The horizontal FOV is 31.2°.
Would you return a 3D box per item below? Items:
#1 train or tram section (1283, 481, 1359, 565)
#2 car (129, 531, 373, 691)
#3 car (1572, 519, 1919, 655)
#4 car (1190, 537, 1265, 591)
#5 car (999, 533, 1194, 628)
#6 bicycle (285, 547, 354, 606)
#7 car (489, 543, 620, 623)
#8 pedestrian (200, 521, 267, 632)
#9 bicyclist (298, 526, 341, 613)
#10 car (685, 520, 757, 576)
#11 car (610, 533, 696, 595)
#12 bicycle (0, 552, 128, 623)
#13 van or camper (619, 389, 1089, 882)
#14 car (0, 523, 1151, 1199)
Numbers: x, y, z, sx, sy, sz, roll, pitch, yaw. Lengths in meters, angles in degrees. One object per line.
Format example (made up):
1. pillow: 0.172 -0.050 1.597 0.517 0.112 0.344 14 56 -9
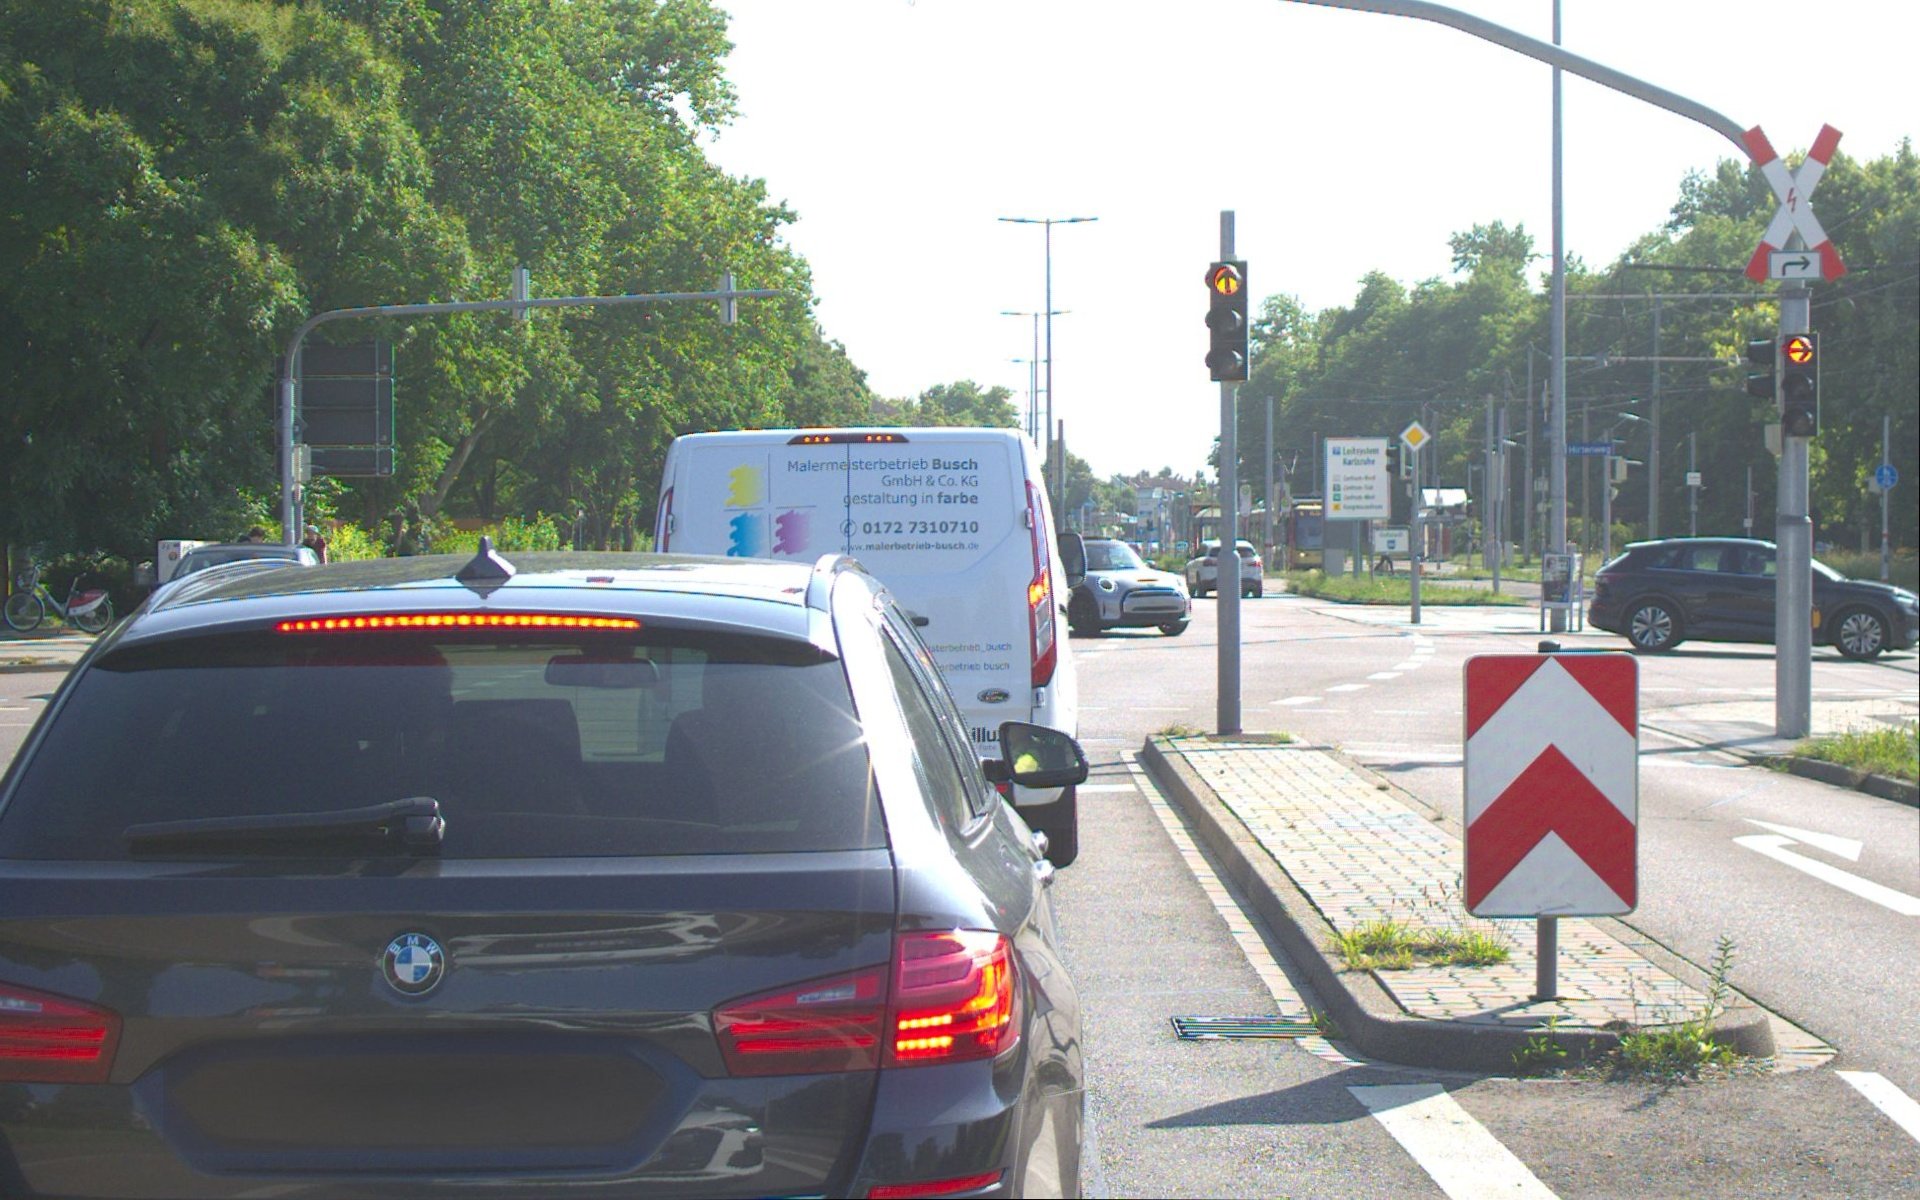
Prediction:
1. train or tram section: 16.398 -3.444 156.914 2.796 3.606 12.954 1 1 3
2. car: -7.408 0.071 36.237 1.633 1.555 3.676 -2 1 2
3. car: 10.932 -0.208 47.589 4.612 1.716 1.648 2 2 19
4. car: 7.517 -1.036 97.018 1.793 1.481 3.900 0 1 0
5. car: 2.028 -0.326 51.896 1.601 1.379 3.530 0 1 -23
6. bicycle: -11.542 -0.430 61.999 0.620 1.037 2.071 0 1 7
7. car: -7.379 -0.336 62.865 1.779 1.410 4.245 0 1 2
8. pedestrian: -11.552 -0.377 54.670 0.816 1.746 0.931 0 1 5
9. bicyclist: -11.532 -0.546 61.936 0.607 1.555 0.602 0 1 8
10. car: -6.965 -1.518 100.407 1.745 1.556 4.000 -2 1 0
11. car: -7.653 -0.914 85.898 1.702 1.460 4.370 -2 1 0
12. bicycle: -14.267 -0.198 54.652 1.909 1.115 0.632 0 1 0
13. van or camper: -0.413 0.107 16.883 1.993 2.089 4.598 0 1 1
14. car: -0.722 0.613 6.444 1.903 1.500 4.065 0 1 0
